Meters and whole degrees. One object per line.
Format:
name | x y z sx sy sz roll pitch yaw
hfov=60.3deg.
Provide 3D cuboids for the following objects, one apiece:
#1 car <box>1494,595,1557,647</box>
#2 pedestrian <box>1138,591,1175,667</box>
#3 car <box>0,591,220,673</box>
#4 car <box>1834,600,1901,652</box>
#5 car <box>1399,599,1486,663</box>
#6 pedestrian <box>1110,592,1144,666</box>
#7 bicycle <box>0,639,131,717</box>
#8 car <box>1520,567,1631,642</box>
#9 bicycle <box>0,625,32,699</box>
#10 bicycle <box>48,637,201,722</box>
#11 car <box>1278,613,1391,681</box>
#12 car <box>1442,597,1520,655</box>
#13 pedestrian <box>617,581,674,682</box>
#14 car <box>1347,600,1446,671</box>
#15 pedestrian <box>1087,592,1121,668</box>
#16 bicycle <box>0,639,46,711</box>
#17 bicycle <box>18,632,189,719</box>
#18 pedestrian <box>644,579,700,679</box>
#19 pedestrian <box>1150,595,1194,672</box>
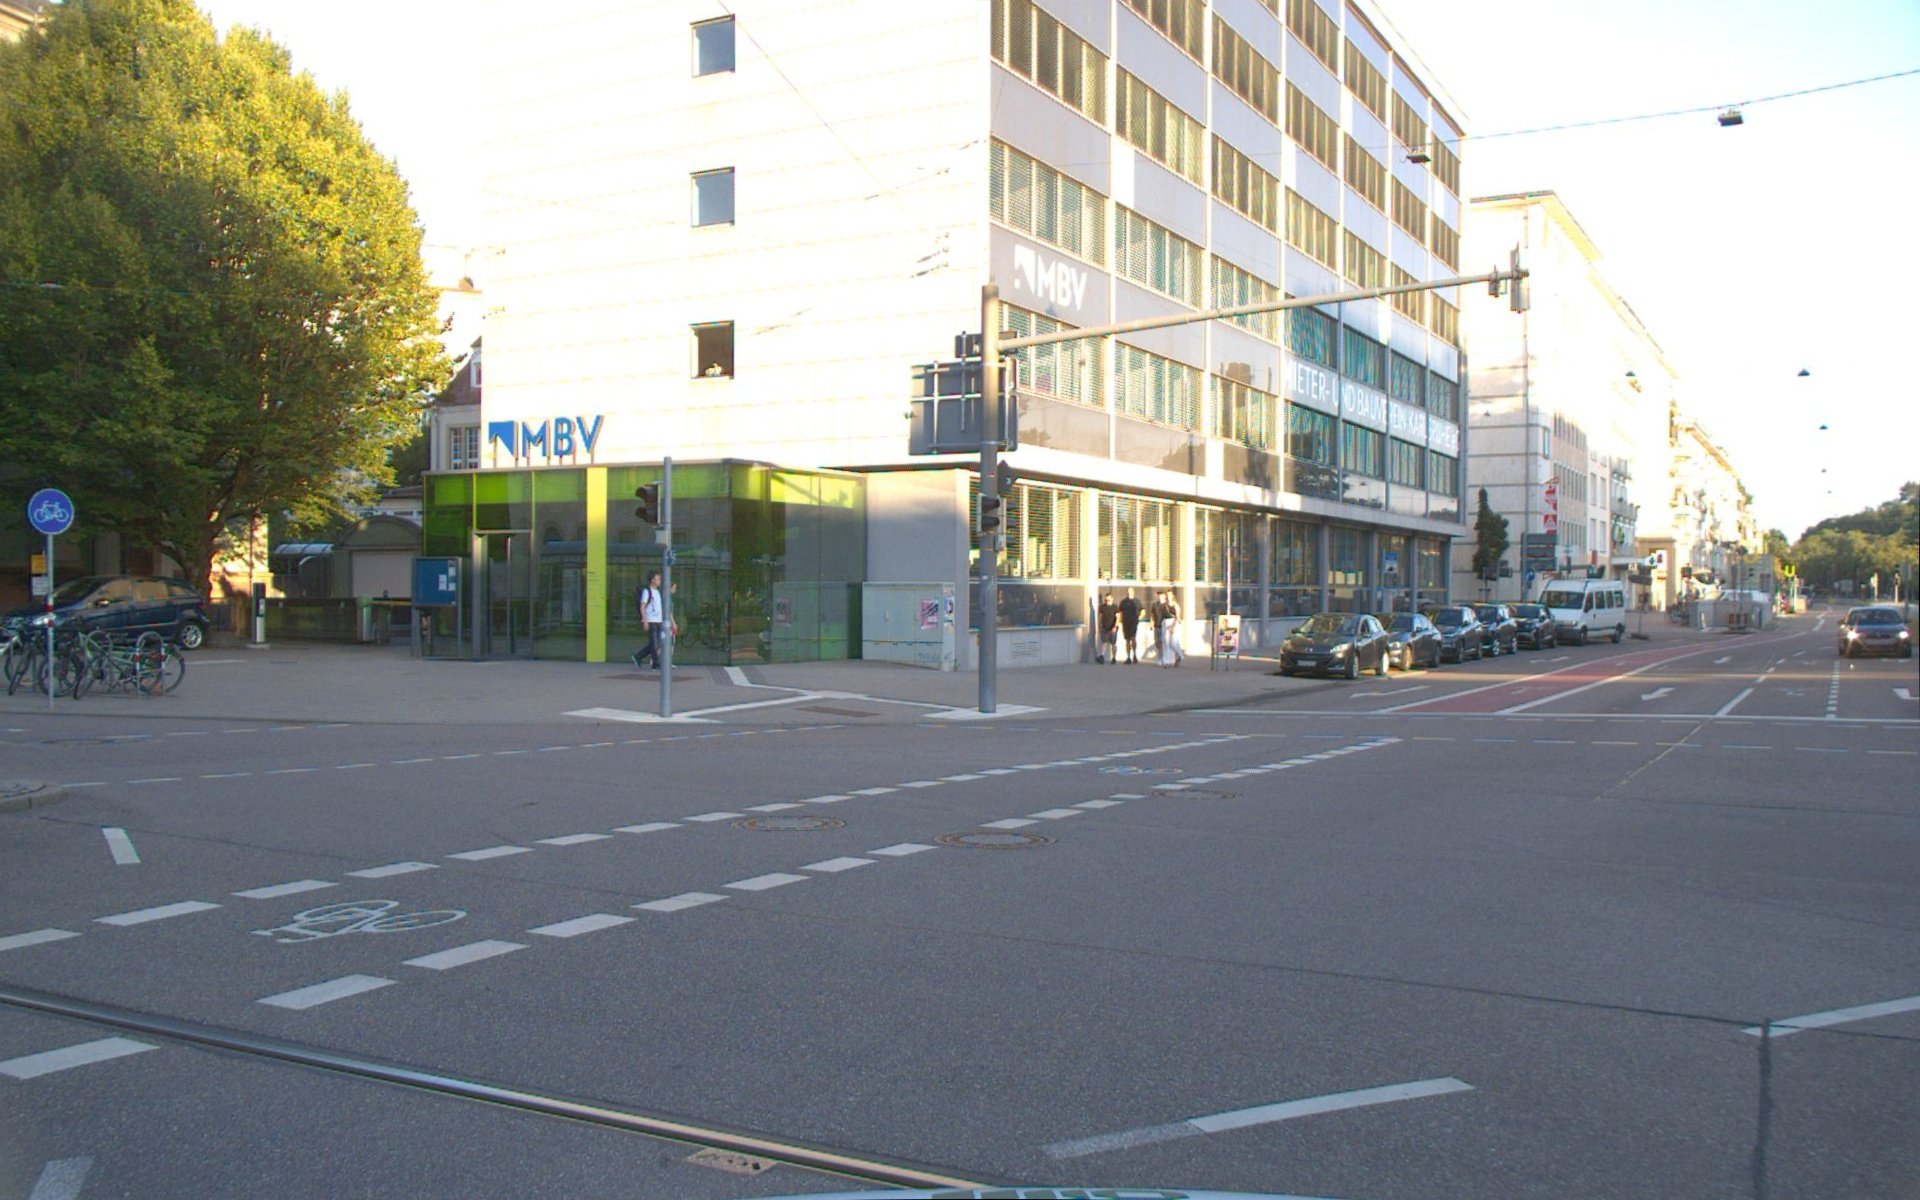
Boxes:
car | 20.234 0.735 59.091 1.471 1.693 3.863 4 2 28
pedestrian | 4.756 0.696 40.034 0.724 1.799 0.672 0 0 25
car | -17.992 0.621 35.034 1.763 1.601 3.991 1 1 28
car | 26.893 0.743 48.986 1.661 1.445 4.166 -1 0 30
car | 14.354 0.873 49.112 1.661 1.693 3.863 4 2 28
pedestrian | 4.066 0.696 40.315 0.640 1.799 0.646 0 0 25
bicycle | -13.585 1.161 25.031 0.728 1.093 1.757 0 0 30
car | 24.082 0.169 64.589 2.203 2.674 5.824 5 3 39
bicycle | -15.869 1.005 26.554 0.728 1.183 1.528 0 0 30
bicycle | -12.108 1.130 24.006 1.852 1.093 0.732 -2 1 -44
car | 8.913 1.063 39.182 1.661 1.435 3.863 1 1 28
car | 16.955 0.813 53.755 1.661 1.693 3.863 4 2 28
pedestrian | -5.647 0.555 29.753 0.719 1.799 0.707 0 0 29
car | 11.748 0.913 44.377 1.661 1.693 3.863 4 2 28
pedestrian | 3.465 0.720 39.740 0.640 1.799 0.646 0 0 25
bicycle | -15.236 1.176 25.827 0.728 1.093 1.553 0 0 30
bicycle | -12.814 1.098 24.821 0.728 1.152 2.233 0 1 30
pedestrian | -5.282 0.524 30.370 0.730 1.799 0.707 0 0 29
pedestrian | 5.003 0.774 39.032 0.824 1.799 0.785 0 0 25
